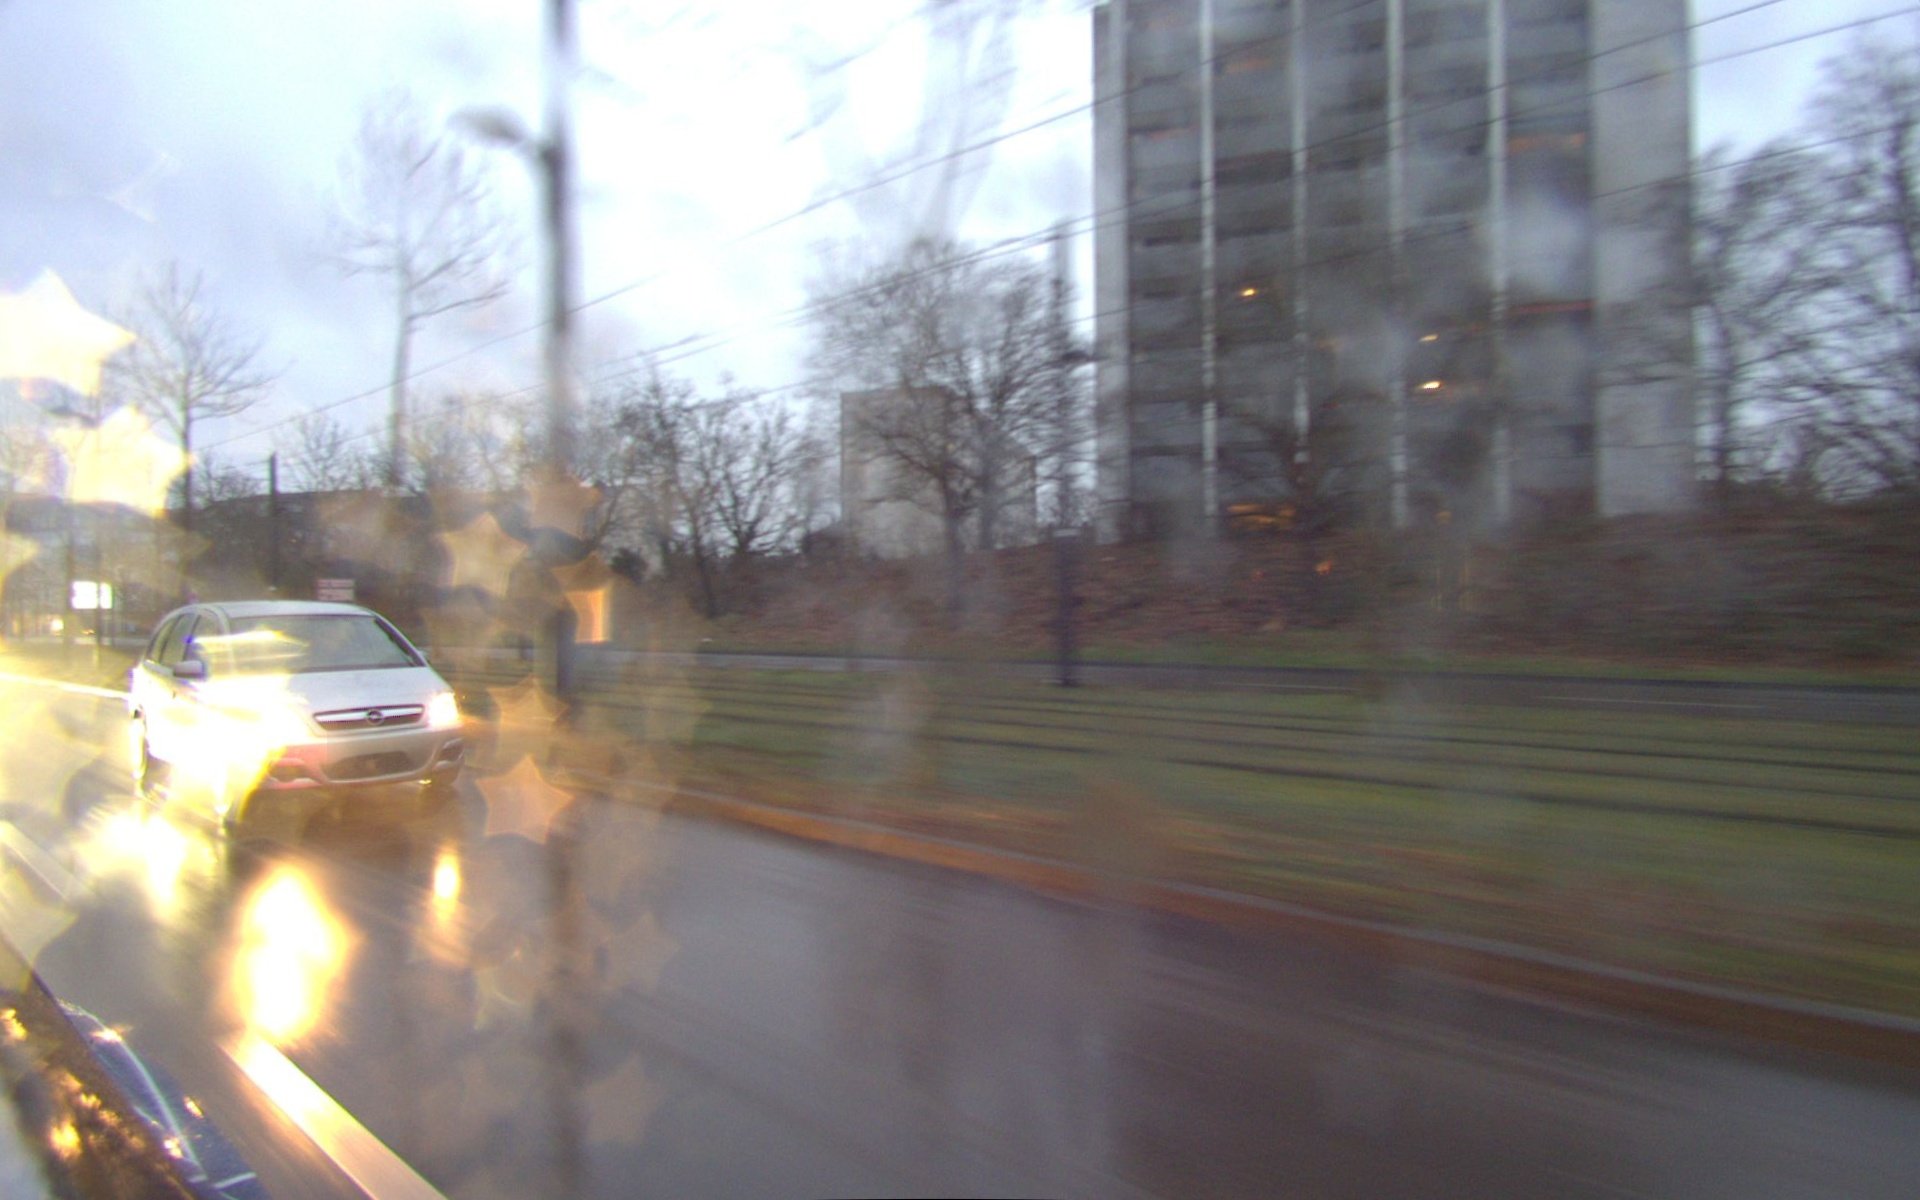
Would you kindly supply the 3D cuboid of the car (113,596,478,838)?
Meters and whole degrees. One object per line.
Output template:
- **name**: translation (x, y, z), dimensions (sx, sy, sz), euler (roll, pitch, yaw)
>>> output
- **car**: translation (-5.818, 0.819, 8.669), dimensions (3.921, 1.587, 1.648), euler (-2, 0, 42)
